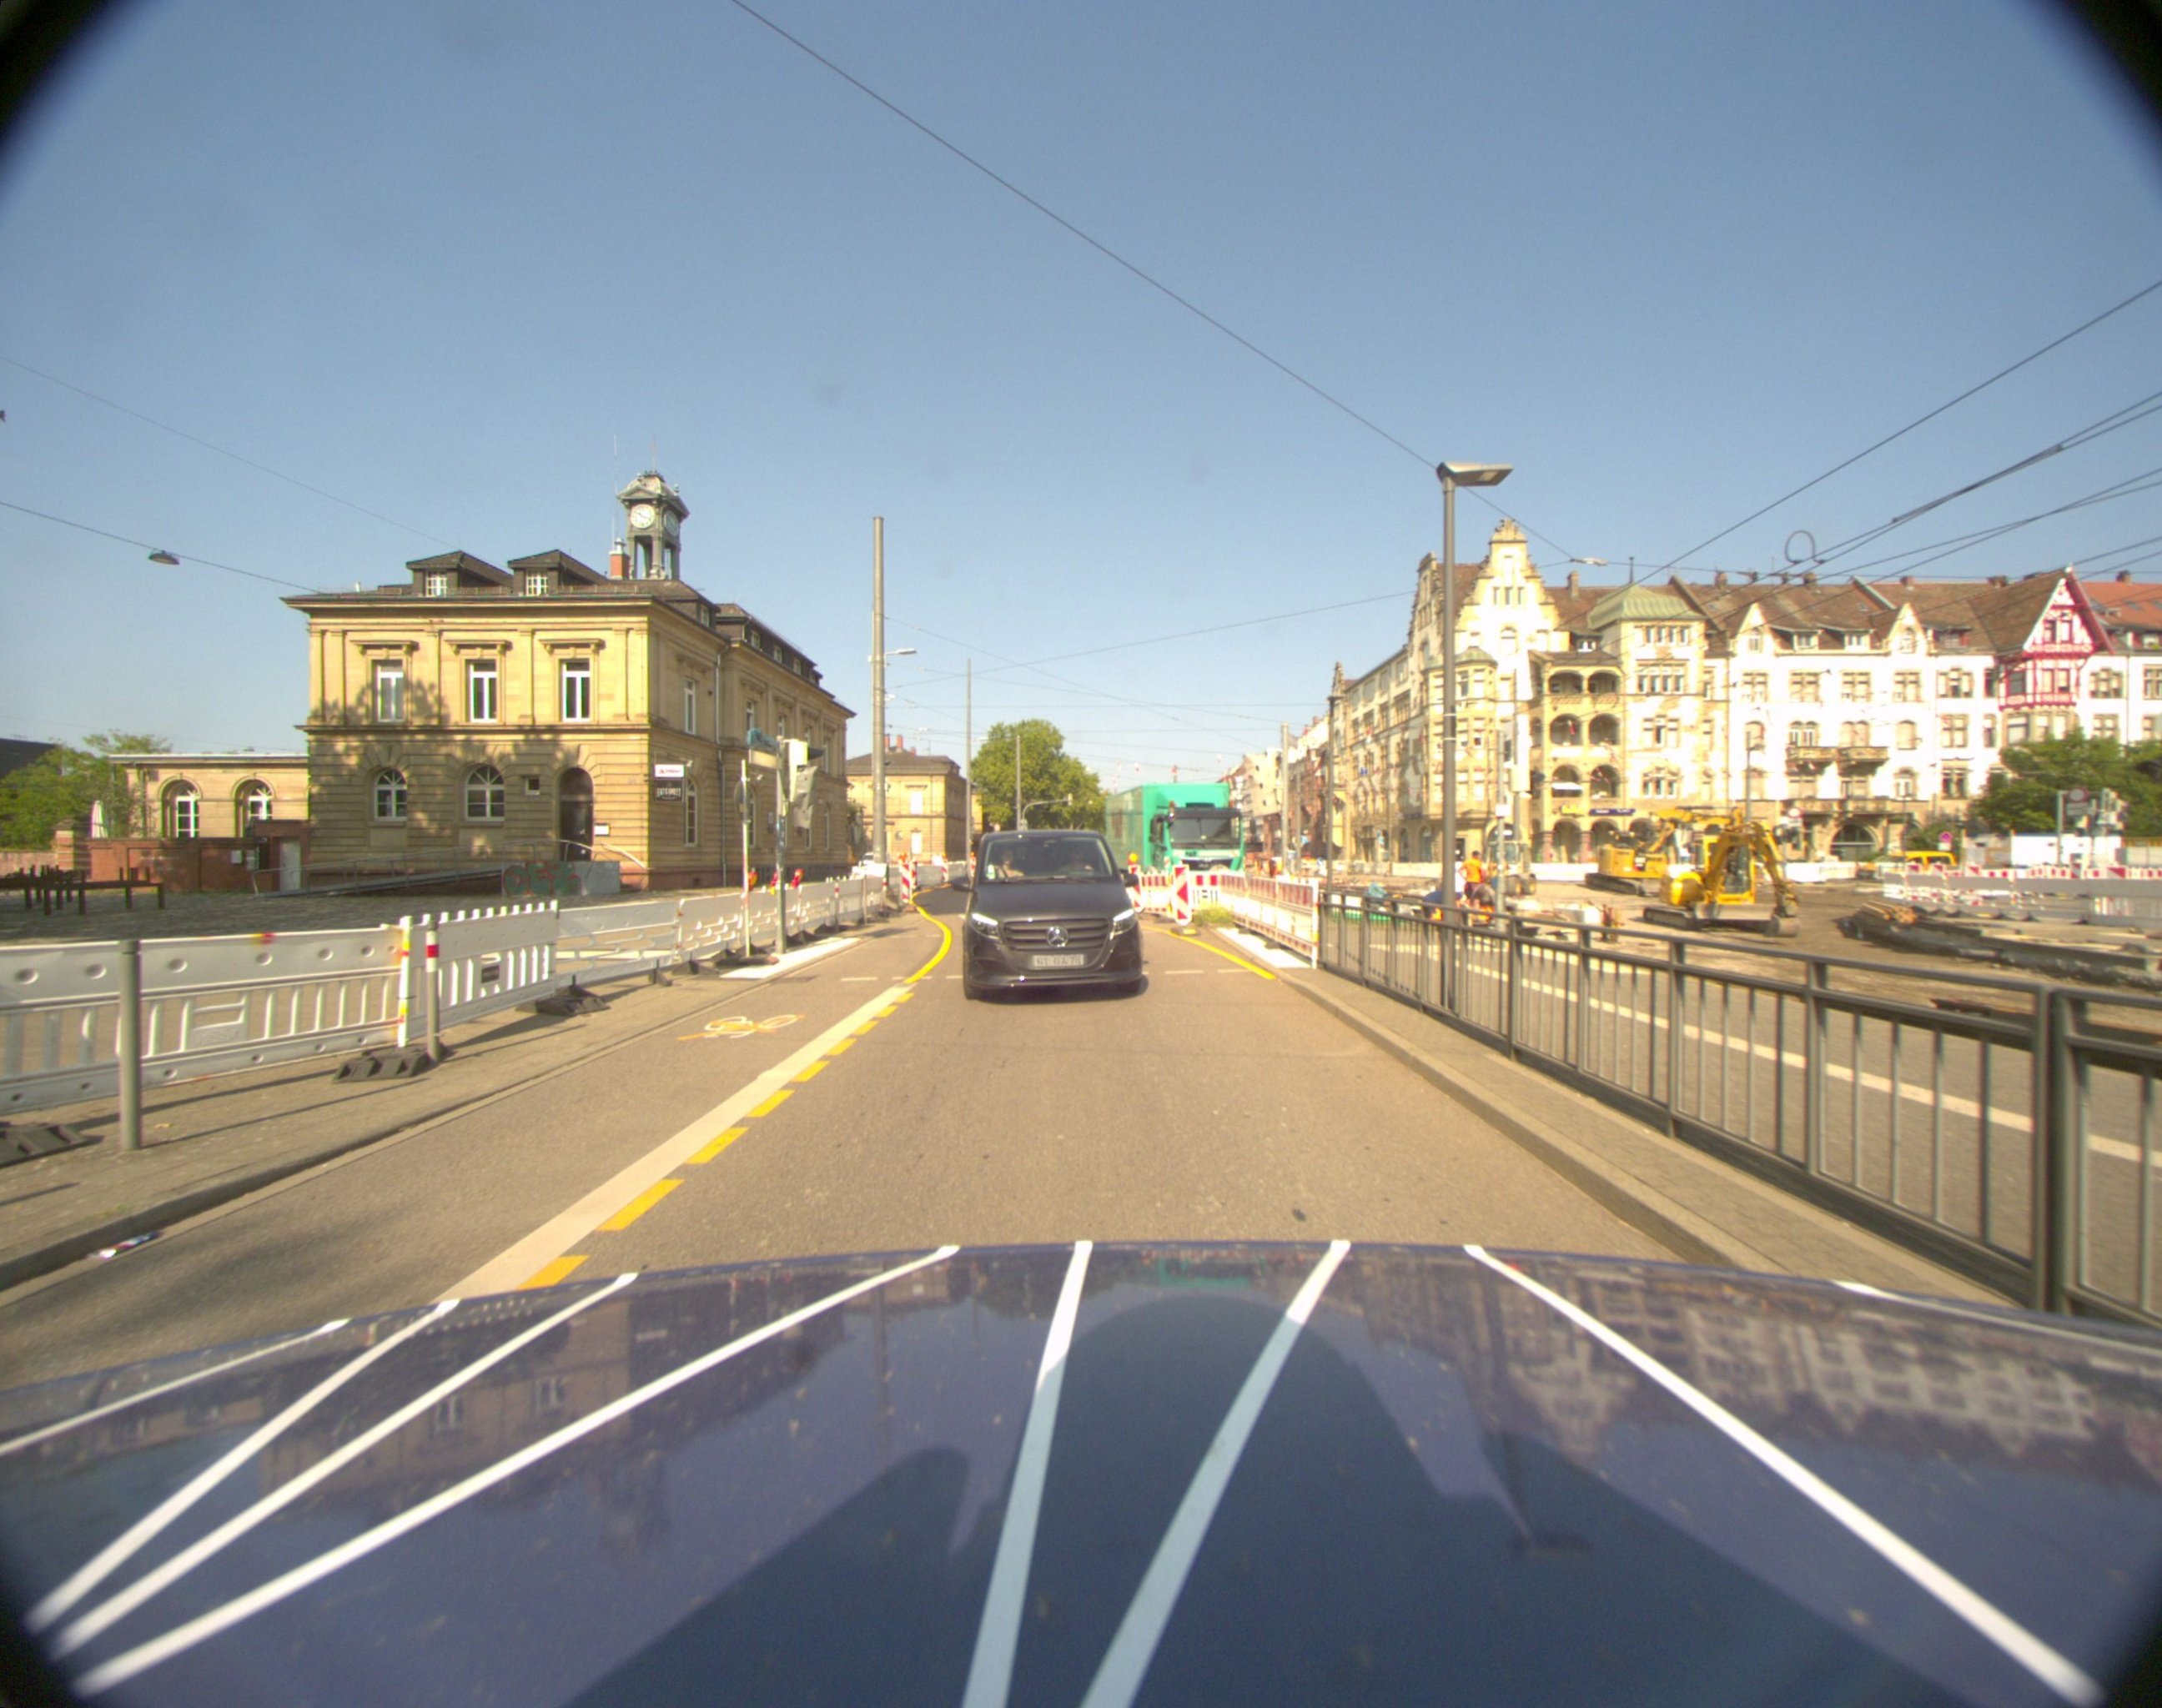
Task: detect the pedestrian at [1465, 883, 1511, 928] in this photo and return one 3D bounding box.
[{"bbox_3d":[9.355,1.177,17.505,0.512,0.982,0.934,0,0,-4],"label":"pedestrian"}]

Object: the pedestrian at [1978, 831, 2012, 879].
[{"bbox_3d":[39.139,0.031,32.538,0.900,2.053,0.668,-1,1,-22],"label":"pedestrian"}]

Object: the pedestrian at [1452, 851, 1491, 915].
[{"bbox_3d":[9.756,0.708,18.991,0.816,1.557,0.558,0,0,31],"label":"pedestrian"}]

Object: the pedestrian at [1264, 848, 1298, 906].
[{"bbox_3d":[5.446,0.625,20.713,0.762,1.557,0.691,0,0,1],"label":"pedestrian"}]

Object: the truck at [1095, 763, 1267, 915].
[{"bbox_3d":[2.702,-0.382,23.844,2.802,3.889,8.410,-2,0,-11],"label":"truck"}]

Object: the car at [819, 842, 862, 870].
[{"bbox_3d":[-21.252,0.139,67.324,2.264,2.409,5.487,0,0,-2],"label":"car"}]

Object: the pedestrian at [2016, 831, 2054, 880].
[{"bbox_3d":[39.637,0.069,31.588,0.668,2.002,0.829,0,1,25],"label":"pedestrian"}]

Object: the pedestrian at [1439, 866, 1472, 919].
[{"bbox_3d":[11.307,1.157,22.942,0.702,1.557,0.557,0,0,-1],"label":"pedestrian"}]

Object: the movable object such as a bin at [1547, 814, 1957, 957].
[{"bbox_3d":[16.806,0.590,20.342,3.622,2.941,8.475,-1,1,2],"label":"movable object such as a bin"}]

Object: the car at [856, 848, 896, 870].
[{"bbox_3d":[-17.665,0.487,65.627,1.907,1.772,4.228,1,-1,6],"label":"car"}]

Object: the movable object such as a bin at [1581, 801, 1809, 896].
[{"bbox_3d":[30.036,-0.335,37.813,7.367,4.323,4.974,0,2,15],"label":"movable object such as a bin"}]

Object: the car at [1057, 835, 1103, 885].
[{"bbox_3d":[-0.009,0.259,40.304,2.213,2.410,7.198,0,1,0],"label":"car"}]

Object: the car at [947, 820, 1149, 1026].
[{"bbox_3d":[-0.438,0.647,9.444,1.853,1.875,4.177,-3,1,-4],"label":"car"}]

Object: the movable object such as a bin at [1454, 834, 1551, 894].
[{"bbox_3d":[21.217,0.441,38.201,4.825,2.818,2.442,0,1,-36],"label":"movable object such as a bin"}]

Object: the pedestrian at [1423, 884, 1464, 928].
[{"bbox_3d":[8.140,1.155,17.079,0.820,0.920,0.513,0,0,24],"label":"pedestrian"}]
